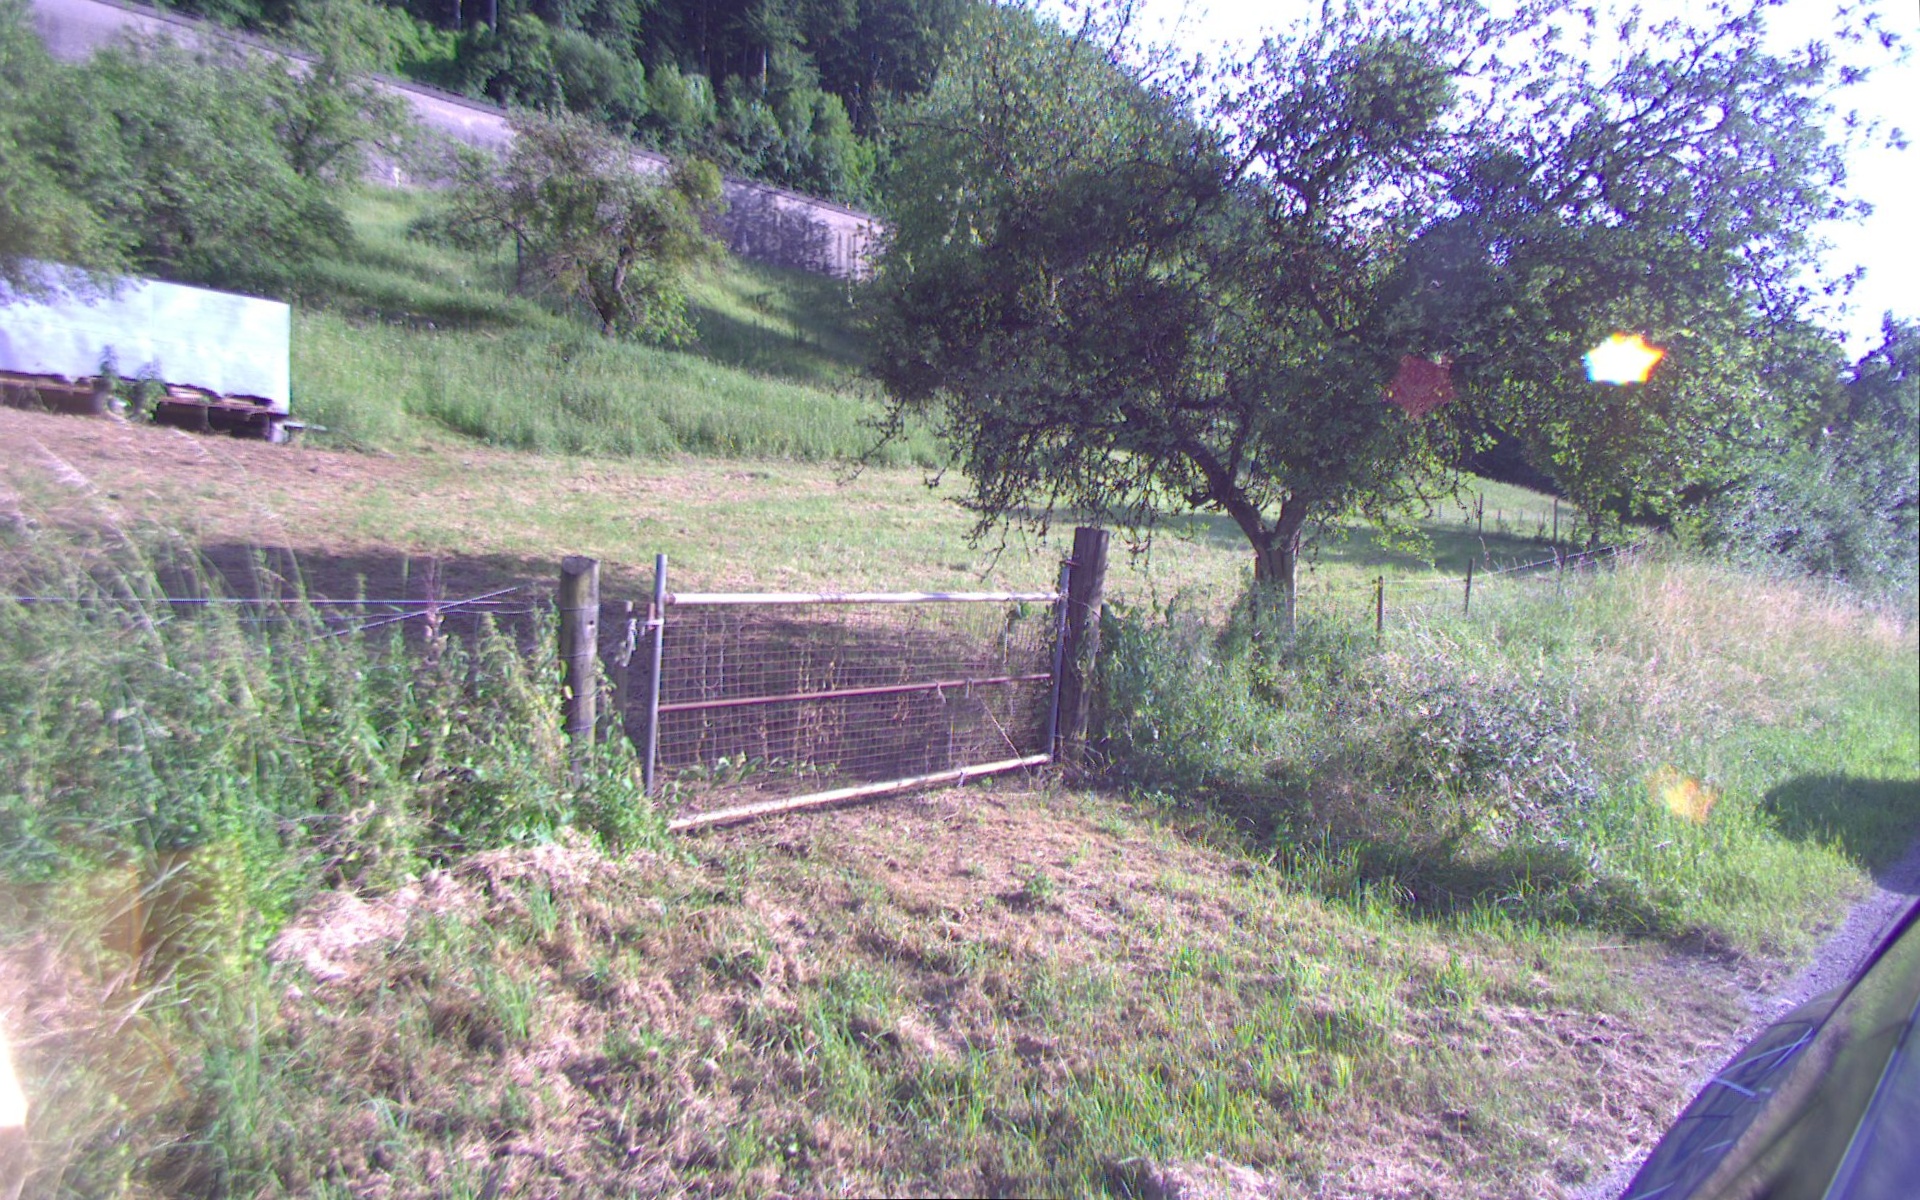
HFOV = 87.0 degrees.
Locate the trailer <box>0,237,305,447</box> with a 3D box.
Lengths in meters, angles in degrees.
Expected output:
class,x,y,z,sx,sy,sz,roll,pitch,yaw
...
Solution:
class,x,y,z,sx,sy,sz,roll,pitch,yaw
trailer,-14.833,-4.416,17.780,5.159,2.590,2.155,4,1,-44
